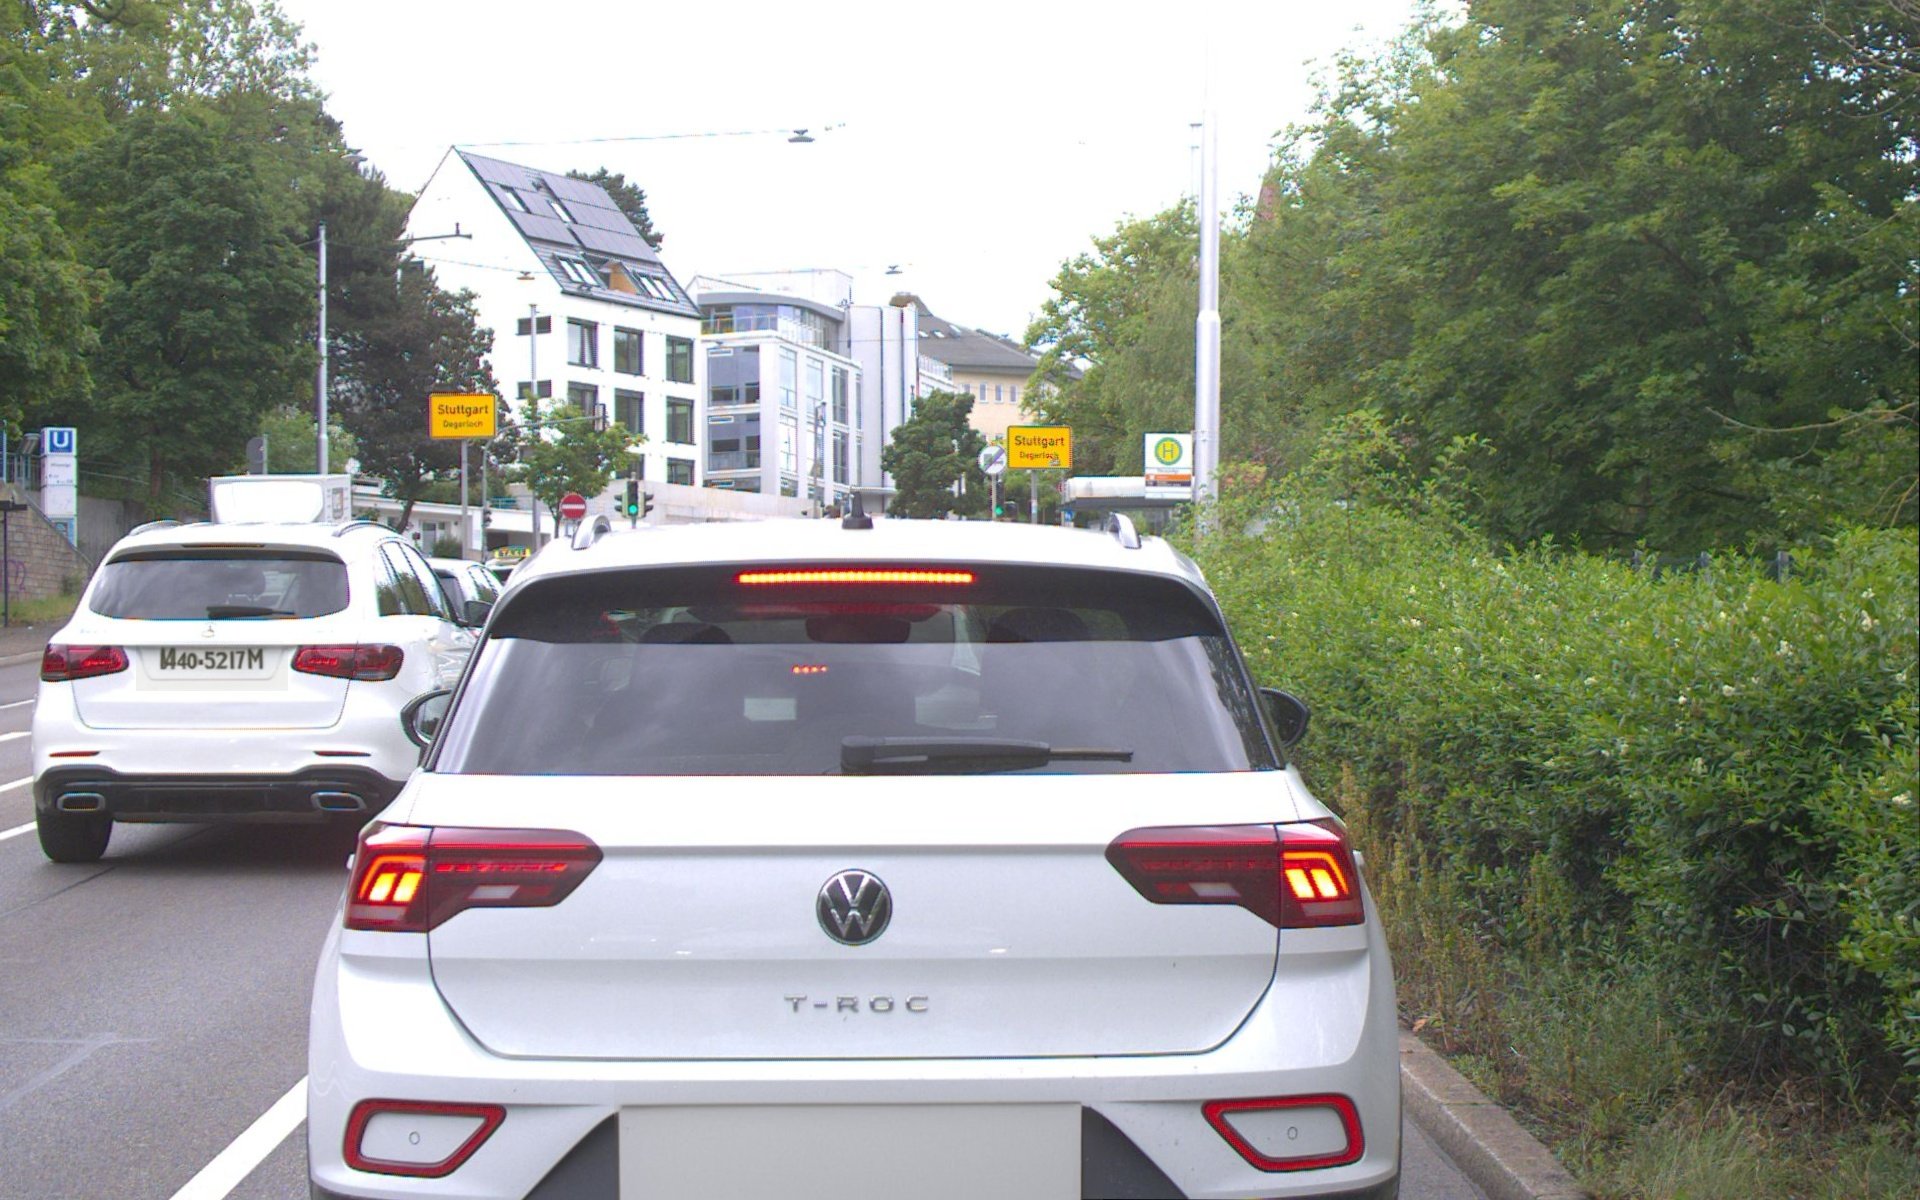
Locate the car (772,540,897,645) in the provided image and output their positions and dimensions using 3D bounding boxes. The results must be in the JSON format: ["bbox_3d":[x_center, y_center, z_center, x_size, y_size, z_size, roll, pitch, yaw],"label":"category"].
[{"bbox_3d":[-1.918,-0.140,53.034,1.829,1.520,4.000,-1,1,-1],"label":"car"}]

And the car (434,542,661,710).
[{"bbox_3d":[-3.988,0.205,33.806,1.829,1.520,4.000,-1,1,-1],"label":"car"}]

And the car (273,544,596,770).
[{"bbox_3d":[-3.757,0.350,25.211,1.829,1.492,4.000,-1,1,-1],"label":"car"}]

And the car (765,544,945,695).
[{"bbox_3d":[-1.135,0.167,37.480,1.829,1.520,4.000,-1,1,-1],"label":"car"}]

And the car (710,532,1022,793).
[{"bbox_3d":[-0.611,0.341,22.509,1.829,1.520,4.000,-1,1,-1],"label":"car"}]

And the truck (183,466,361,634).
[{"bbox_3d":[-13.247,-0.956,66.648,2.293,3.040,6.980,-1,1,-3],"label":"truck"}]

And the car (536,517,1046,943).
[{"bbox_3d":[-0.665,0.442,14.535,1.829,1.520,4.000,-1,1,-1],"label":"car"}]

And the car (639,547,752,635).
[{"bbox_3d":[-4.805,-0.194,62.862,1.829,1.520,4.000,-1,1,-1],"label":"car"}]

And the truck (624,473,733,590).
[{"bbox_3d":[-6.952,-1.703,85.367,2.362,2.772,4.478,-2,1,-1],"label":"truck"}]

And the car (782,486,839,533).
[{"bbox_3d":[-5.064,-3.058,116.622,1.829,1.520,4.000,-1,1,-1],"label":"car"}]

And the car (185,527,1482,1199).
[{"bbox_3d":[-0.223,0.631,6.866,1.829,1.520,4.000,0,1,-1],"label":"car"}]

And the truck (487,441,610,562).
[{"bbox_3d":[-9.627,-2.290,80.779,2.362,2.697,4.478,-2,1,-1],"label":"truck"}]

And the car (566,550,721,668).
[{"bbox_3d":[-4.306,0.092,47.285,1.829,1.520,4.000,-1,1,-1],"label":"car"}]

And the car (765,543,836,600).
[{"bbox_3d":[-4.351,-0.797,94.306,1.829,1.520,4.000,-1,1,-1],"label":"car"}]

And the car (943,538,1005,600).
[{"bbox_3d":[0.461,-1.052,115.814,1.993,2.007,4.000,-1,1,-1],"label":"car"}]

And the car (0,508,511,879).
[{"bbox_3d":[-3.466,0.394,17.529,1.918,1.664,4.000,0,1,-1],"label":"car"}]

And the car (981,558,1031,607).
[{"bbox_3d":[1.937,-0.721,145.849,1.993,2.007,4.000,-1,0,0],"label":"car"}]

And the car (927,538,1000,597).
[{"bbox_3d":[0.076,-0.884,92.759,1.829,1.520,4.000,-1,1,-1],"label":"car"}]

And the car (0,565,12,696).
[{"bbox_3d":[-11.074,0.376,35.001,1.679,1.390,4.361,-2,1,-1],"label":"car"}]
